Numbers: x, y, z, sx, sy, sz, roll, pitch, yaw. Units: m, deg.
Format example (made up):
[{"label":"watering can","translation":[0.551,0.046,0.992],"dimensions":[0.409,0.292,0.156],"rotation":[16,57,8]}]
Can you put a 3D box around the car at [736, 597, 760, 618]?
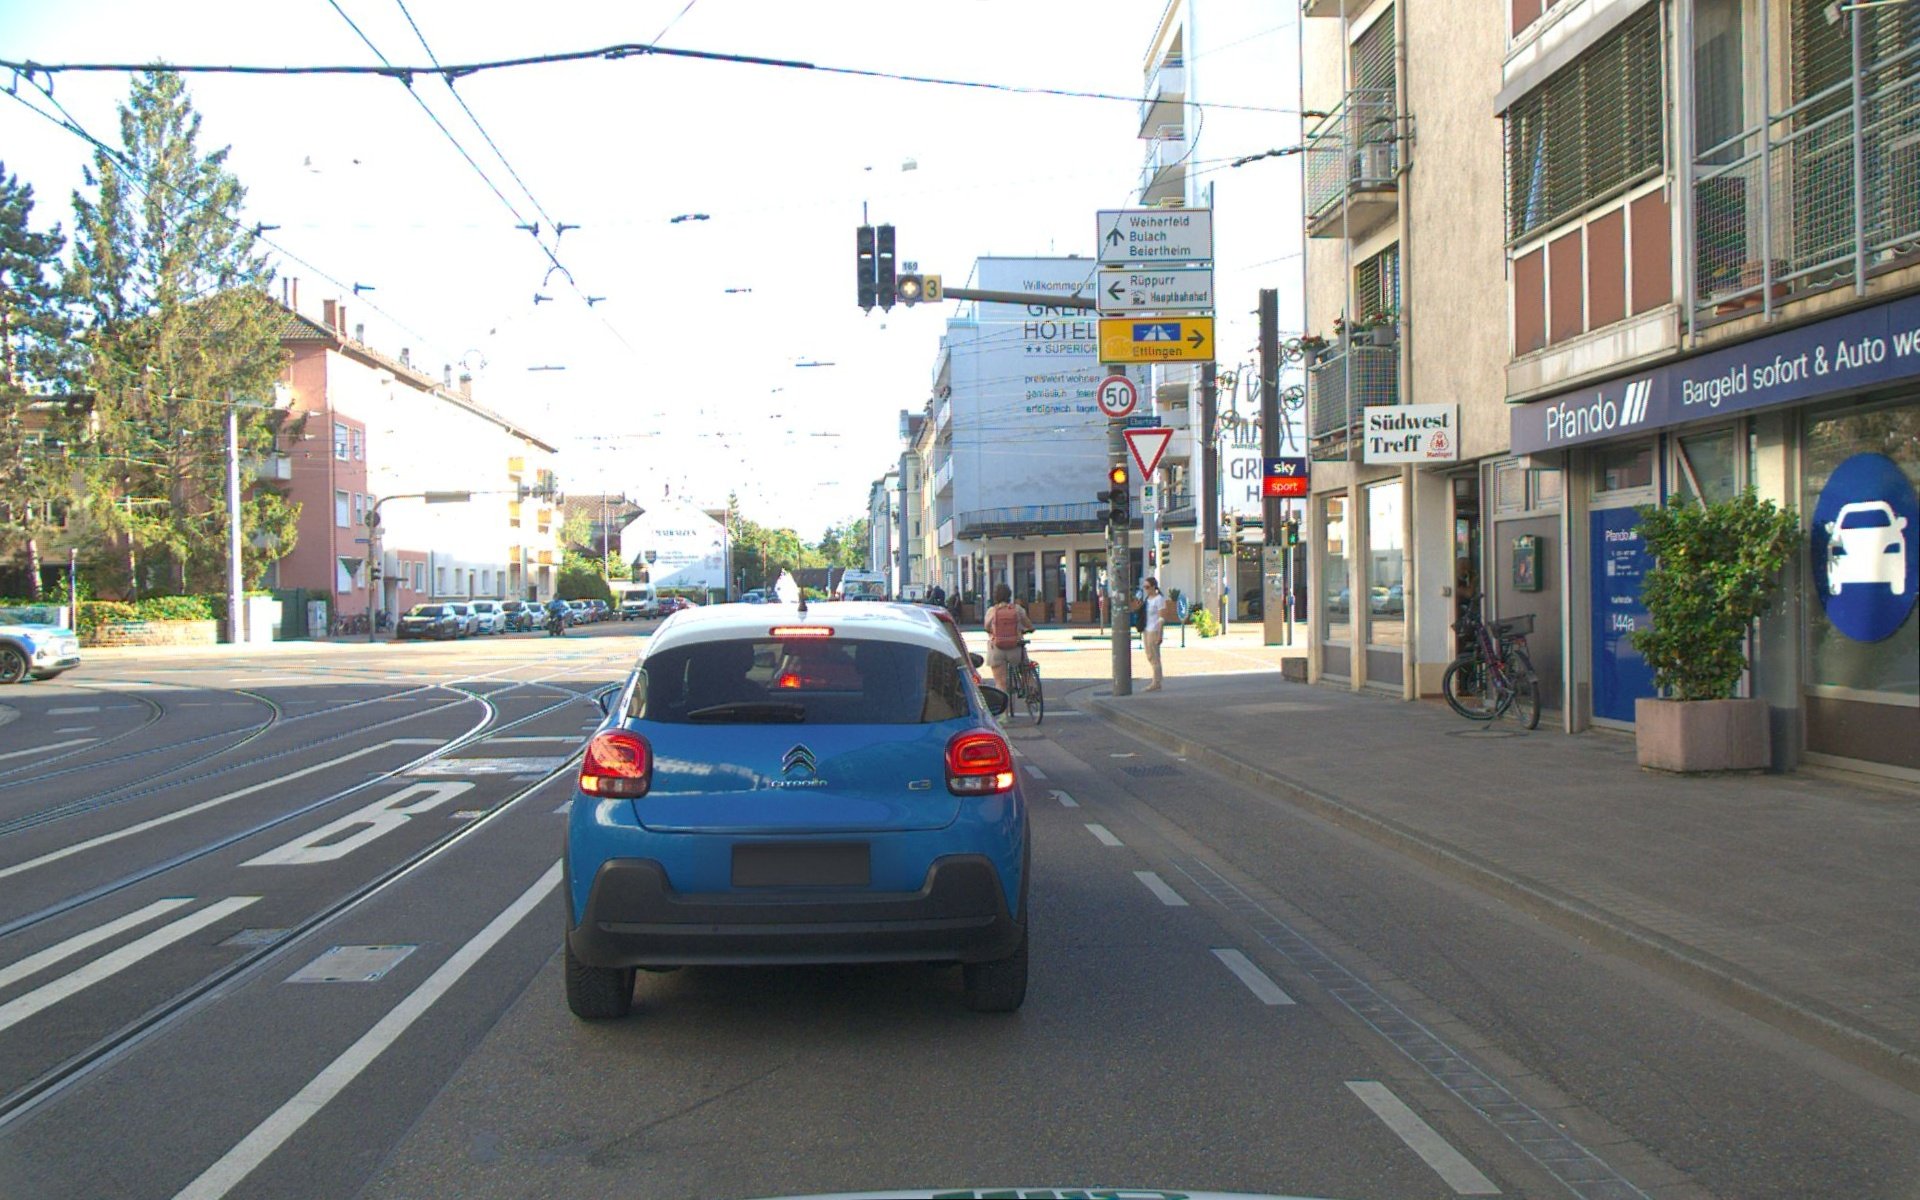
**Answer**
[{"label":"car","translation":[-21.810,0.802,170.492],"dimensions":[2.293,2.074,5.044],"rotation":[-1,0,-6]}]

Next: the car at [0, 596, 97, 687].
[{"label":"car","translation":[-19.584,0.815,32.313],"dimensions":[4.446,1.713,1.790],"rotation":[-1,0,-5]}]

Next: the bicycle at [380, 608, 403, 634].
[{"label":"bicycle","translation":[-25.674,0.940,74.692],"dimensions":[0.597,1.101,1.908],"rotation":[-1,0,-7]}]

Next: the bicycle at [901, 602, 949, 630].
[{"label":"bicycle","translation":[-1.396,0.639,65.778],"dimensions":[1.868,1.083,0.641],"rotation":[-1,0,-8]}]

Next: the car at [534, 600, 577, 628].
[{"label":"car","translation":[-23.936,0.821,97.992],"dimensions":[1.913,1.545,3.995],"rotation":[-1,0,-6]}]

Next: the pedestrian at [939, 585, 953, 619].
[{"label":"pedestrian","translation":[-0.587,0.084,69.992],"dimensions":[0.459,1.445,0.525],"rotation":[-1,0,-13]}]

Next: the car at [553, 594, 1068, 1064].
[{"label":"car","translation":[-0.616,0.734,7.349],"dimensions":[1.647,1.488,3.997],"rotation":[1,0,-4]}]

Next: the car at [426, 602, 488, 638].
[{"label":"car","translation":[-22.556,0.875,74.255],"dimensions":[1.913,1.545,4.040],"rotation":[-1,0,-6]}]

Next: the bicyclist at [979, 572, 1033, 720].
[{"label":"bicyclist","translation":[0.564,0.554,20.594],"dimensions":[0.588,1.776,1.084],"rotation":[-1,0,-1]}]

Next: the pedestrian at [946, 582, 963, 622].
[{"label":"pedestrian","translation":[-0.245,0.087,70.740],"dimensions":[0.546,1.676,0.534],"rotation":[-1,0,-25]}]

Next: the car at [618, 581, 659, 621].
[{"label":"car","translation":[-23.224,0.065,119.576],"dimensions":[2.446,2.759,5.828],"rotation":[-1,0,-7]}]

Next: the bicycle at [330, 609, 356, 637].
[{"label":"bicycle","translation":[-24.984,0.918,66.991],"dimensions":[0.628,1.101,1.905],"rotation":[-1,0,-11]}]

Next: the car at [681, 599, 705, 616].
[{"label":"car","translation":[-24.818,0.694,153.872],"dimensions":[1.913,1.545,3.995],"rotation":[-1,0,-6]}]

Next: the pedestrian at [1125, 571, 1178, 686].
[{"label":"pedestrian","translation":[2.822,0.414,24.406],"dimensions":[0.735,1.663,0.740],"rotation":[-1,0,5]}]

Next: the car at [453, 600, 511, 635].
[{"label":"car","translation":[-22.758,0.819,78.861],"dimensions":[1.913,1.545,3.995],"rotation":[-1,0,-6]}]

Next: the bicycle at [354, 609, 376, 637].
[{"label":"bicycle","translation":[-24.232,0.936,67.415],"dimensions":[0.527,1.101,1.905],"rotation":[-1,0,-11]}]

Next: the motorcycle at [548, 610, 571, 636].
[{"label":"motorcycle","translation":[-16.228,0.939,67.020],"dimensions":[0.738,0.993,2.092],"rotation":[-1,0,-9]}]

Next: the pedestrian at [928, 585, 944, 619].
[{"label":"pedestrian","translation":[-1.012,0.088,70.237],"dimensions":[0.514,1.445,0.547],"rotation":[-1,0,19]}]

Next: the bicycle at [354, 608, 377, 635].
[{"label":"bicycle","translation":[-25.876,0.927,71.986],"dimensions":[0.527,1.101,1.908],"rotation":[-1,0,-7]}]

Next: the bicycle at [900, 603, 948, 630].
[{"label":"bicycle","translation":[-1.448,0.664,67.083],"dimensions":[1.868,1.083,0.641],"rotation":[-1,0,-8]}]

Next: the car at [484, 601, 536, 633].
[{"label":"car","translation":[-23.235,0.838,85.518],"dimensions":[1.913,1.545,3.995],"rotation":[-1,0,-6]}]

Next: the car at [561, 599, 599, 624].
[{"label":"car","translation":[-24.851,0.747,108.262],"dimensions":[1.913,1.545,3.995],"rotation":[-1,0,-6]}]

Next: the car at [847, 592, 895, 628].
[{"label":"car","translation":[-3.678,0.383,67.738],"dimensions":[1.752,1.383,3.909],"rotation":[-1,0,-6]}]

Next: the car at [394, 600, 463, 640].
[{"label":"car","translation":[-22.017,0.791,68.650],"dimensions":[1.913,1.545,3.995],"rotation":[-1,0,-6]}]

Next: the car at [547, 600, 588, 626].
[{"label":"car","translation":[-24.410,0.806,102.989],"dimensions":[1.913,1.545,3.995],"rotation":[-1,0,-6]}]

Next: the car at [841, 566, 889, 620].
[{"label":"car","translation":[-4.233,-0.319,73.177],"dimensions":[2.039,2.309,5.646],"rotation":[0,0,-4]}]

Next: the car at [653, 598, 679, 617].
[{"label":"car","translation":[-25.574,0.639,144.165],"dimensions":[1.913,1.545,3.995],"rotation":[-1,0,-6]}]

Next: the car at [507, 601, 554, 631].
[{"label":"car","translation":[-23.765,0.854,91.567],"dimensions":[1.913,1.545,3.995],"rotation":[-1,0,-6]}]

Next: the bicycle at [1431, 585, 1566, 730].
[{"label":"bicycle","translation":[5.109,0.507,15.818],"dimensions":[0.627,1.286,1.910],"rotation":[-1,0,-1]}]

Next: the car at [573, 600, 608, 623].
[{"label":"car","translation":[-25.567,0.786,114.593],"dimensions":[1.913,1.545,3.995],"rotation":[-1,0,-6]}]

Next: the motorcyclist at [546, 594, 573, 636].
[{"label":"motorcyclist","translation":[-16.207,0.607,66.952],"dimensions":[0.973,1.659,0.737],"rotation":[-1,0,-10]}]

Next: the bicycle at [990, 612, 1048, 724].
[{"label":"bicycle","translation":[0.717,0.816,20.635],"dimensions":[0.601,1.286,1.910],"rotation":[-1,0,-1]}]

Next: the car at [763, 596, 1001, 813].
[{"label":"car","translation":[-0.683,0.729,13.558],"dimensions":[1.647,1.488,3.997],"rotation":[1,0,-4]}]

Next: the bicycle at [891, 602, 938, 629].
[{"label":"bicycle","translation":[-1.863,0.641,68.270],"dimensions":[1.868,1.083,0.641],"rotation":[-1,0,-8]}]

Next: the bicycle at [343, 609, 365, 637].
[{"label":"bicycle","translation":[-24.591,0.928,67.116],"dimensions":[0.527,1.101,1.905],"rotation":[-1,0,-11]}]
